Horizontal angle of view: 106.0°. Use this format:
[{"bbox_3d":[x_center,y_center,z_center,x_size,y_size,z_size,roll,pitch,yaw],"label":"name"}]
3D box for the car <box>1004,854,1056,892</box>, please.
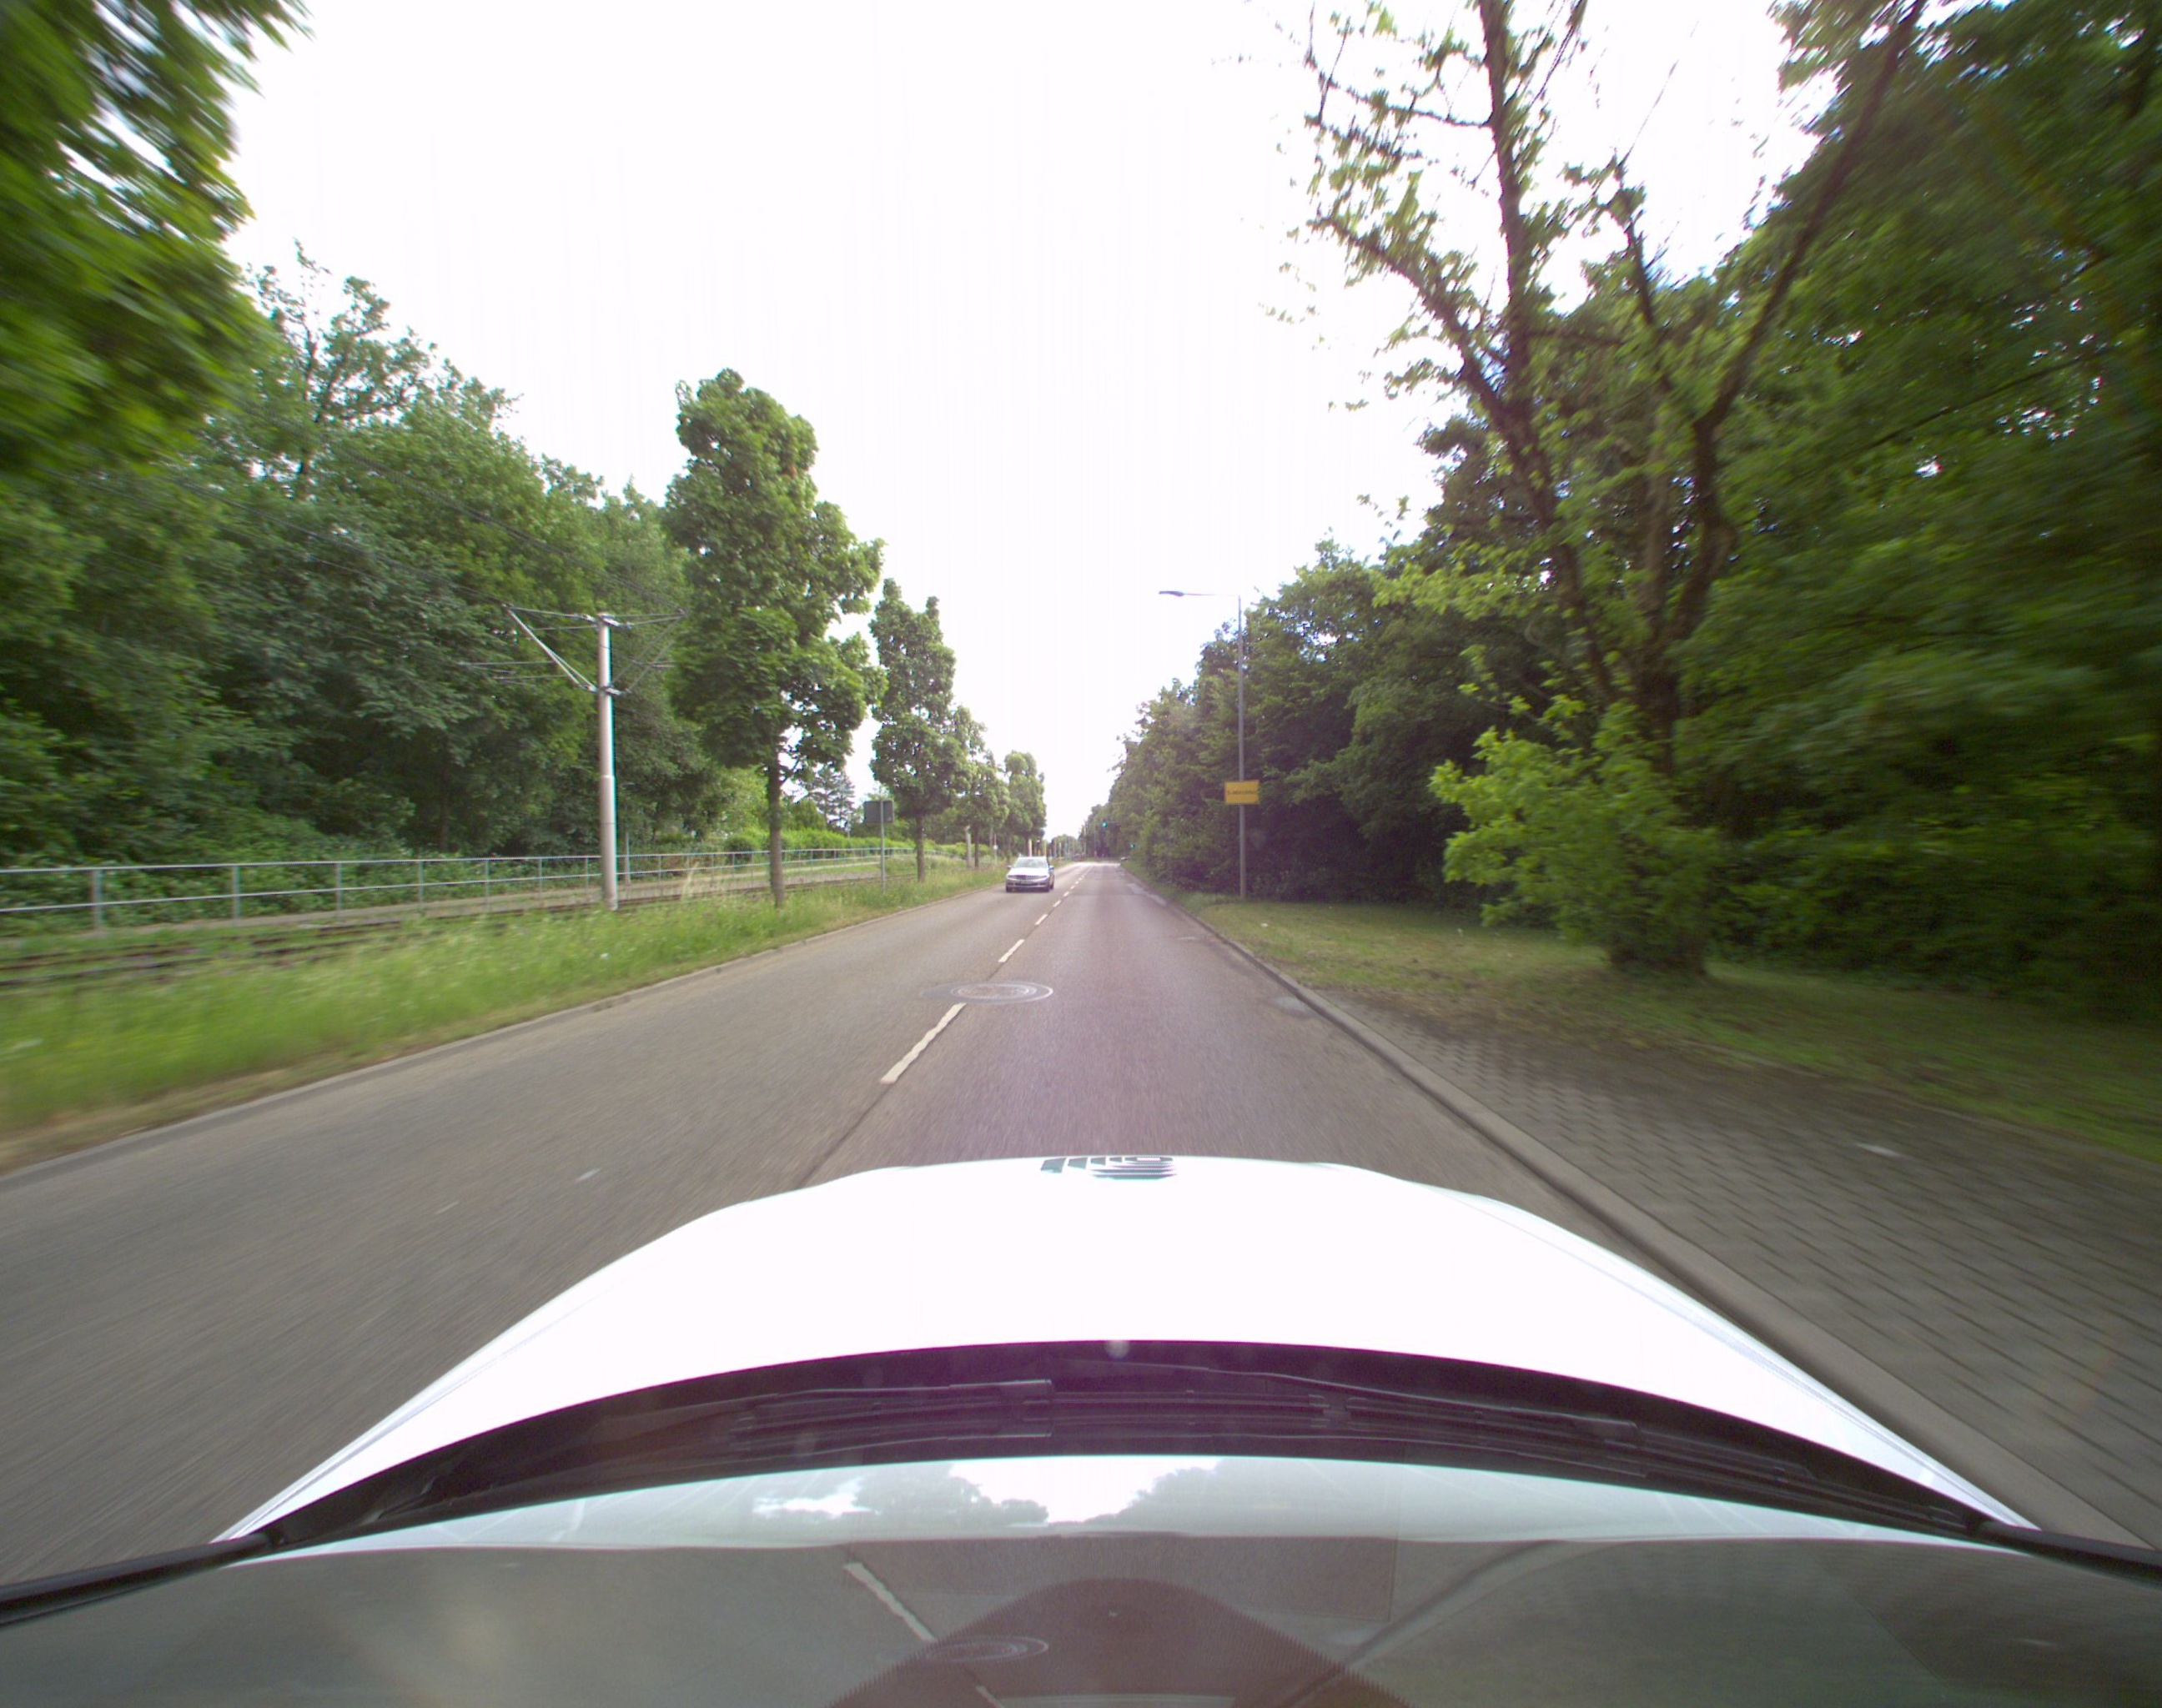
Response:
[{"bbox_3d":[-2.087,0.749,34.404,1.767,1.469,4.244,-1,0,2],"label":"car"}]
